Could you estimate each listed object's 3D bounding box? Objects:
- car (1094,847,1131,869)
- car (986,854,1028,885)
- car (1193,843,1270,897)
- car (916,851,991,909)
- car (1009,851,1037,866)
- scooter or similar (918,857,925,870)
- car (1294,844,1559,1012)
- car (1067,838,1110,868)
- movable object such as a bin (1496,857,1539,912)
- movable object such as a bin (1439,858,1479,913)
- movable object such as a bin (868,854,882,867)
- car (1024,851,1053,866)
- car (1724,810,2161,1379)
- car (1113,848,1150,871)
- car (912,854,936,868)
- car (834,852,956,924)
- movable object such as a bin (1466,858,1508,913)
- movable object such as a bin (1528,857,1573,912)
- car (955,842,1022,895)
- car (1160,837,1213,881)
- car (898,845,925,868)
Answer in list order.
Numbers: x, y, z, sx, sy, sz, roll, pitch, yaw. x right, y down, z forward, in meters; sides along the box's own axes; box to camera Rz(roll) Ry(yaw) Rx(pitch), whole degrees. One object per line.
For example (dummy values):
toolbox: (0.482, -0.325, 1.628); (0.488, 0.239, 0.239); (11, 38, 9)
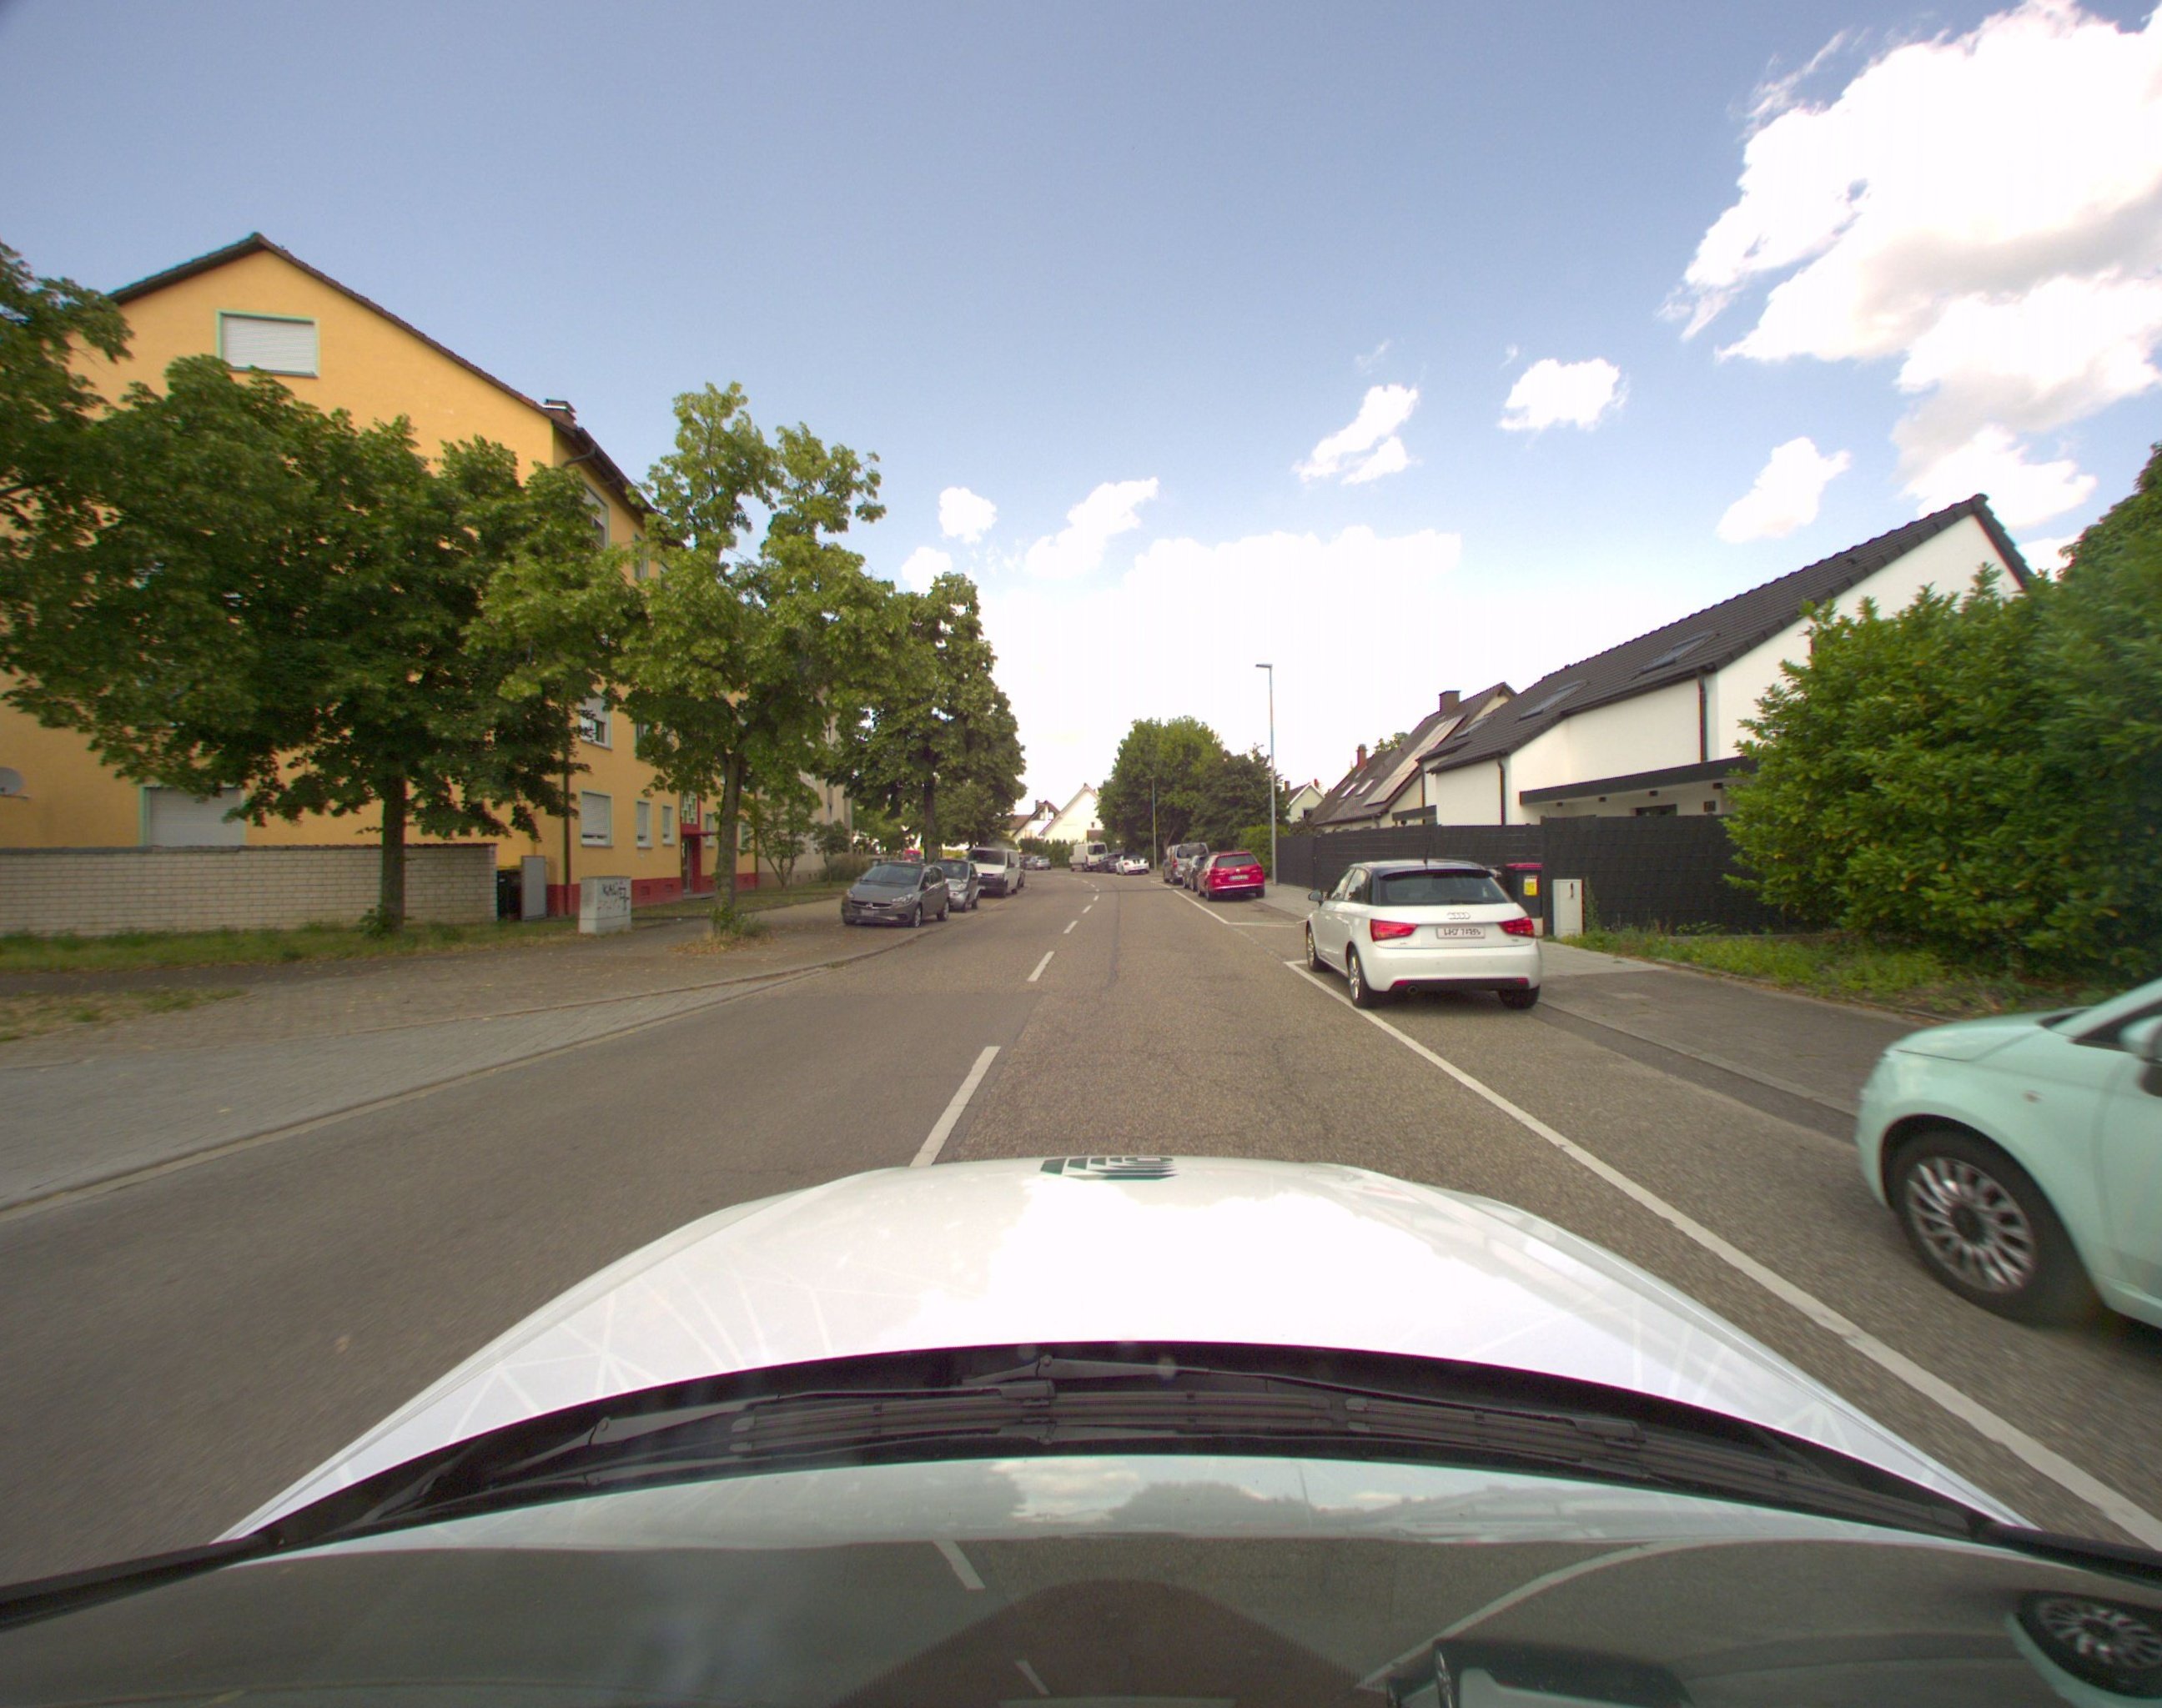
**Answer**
car: (2.402, 0.289, 63.112); (1.720, 1.585, 4.103); (-1, 0, -15)
car: (-3.761, 0.765, 41.797); (1.755, 1.489, 4.503); (0, 0, 0)
car: (4.796, 0.478, 26.539); (1.842, 1.579, 4.736); (-1, 0, 3)
car: (-3.919, 0.762, 25.524); (1.512, 1.549, 3.757); (4, 1, 2)
car: (-6.371, 0.480, 88.629); (1.744, 1.509, 4.442); (0, 0, -23)
scooter or similar: (-14.221, 0.824, 72.638); (0.420, 1.165, 1.133); (1, 0, -19)
car: (3.573, 0.657, 9.159); (1.713, 1.486, 3.755); (-1, 0, 6)
car: (0.584, -0.118, 69.279); (2.121, 2.441, 5.864); (-1, 0, -15)
movable object such as a bin: (8.514, 0.587, 15.893); (0.514, 1.039, 0.630); (-1, 0, 3)
movable object such as a bin: (7.380, 0.605, 15.915); (0.514, 1.039, 0.630); (-1, 0, 3)
movable object such as a bin: (-20.577, 0.626, 81.348); (1.193, 1.274, 0.875); (-1, 3, -12)
car: (-4.394, 0.436, 83.230); (1.743, 1.457, 4.335); (-1, 0, -20)
car: (3.651, 0.635, 1.836); (1.575, 1.520, 3.758); (-1, 0, 3)
car: (3.435, 0.373, 56.120); (1.739, 1.512, 4.446); (-1, 0, -8)
car: (-17.726, 0.817, 91.717); (1.794, 1.458, 4.403); (4, -2, -22)
car: (-4.299, 0.770, 19.466); (1.676, 1.486, 3.988); (2, -1, 4)
movable object such as a bin: (7.925, 0.605, 15.904); (0.514, 1.039, 0.630); (-1, 0, 3)
movable object such as a bin: (9.108, 0.586, 15.806); (0.514, 1.039, 0.630); (-1, 0, 3)
car: (-3.710, 0.527, 33.613); (1.871, 2.009, 5.326); (1, 0, 3)
car: (5.063, 0.231, 39.661); (1.837, 1.944, 4.874); (-3, 0, -1)
car: (-20.379, 0.282, 97.677); (2.072, 2.501, 5.798); (4, -1, -22)
